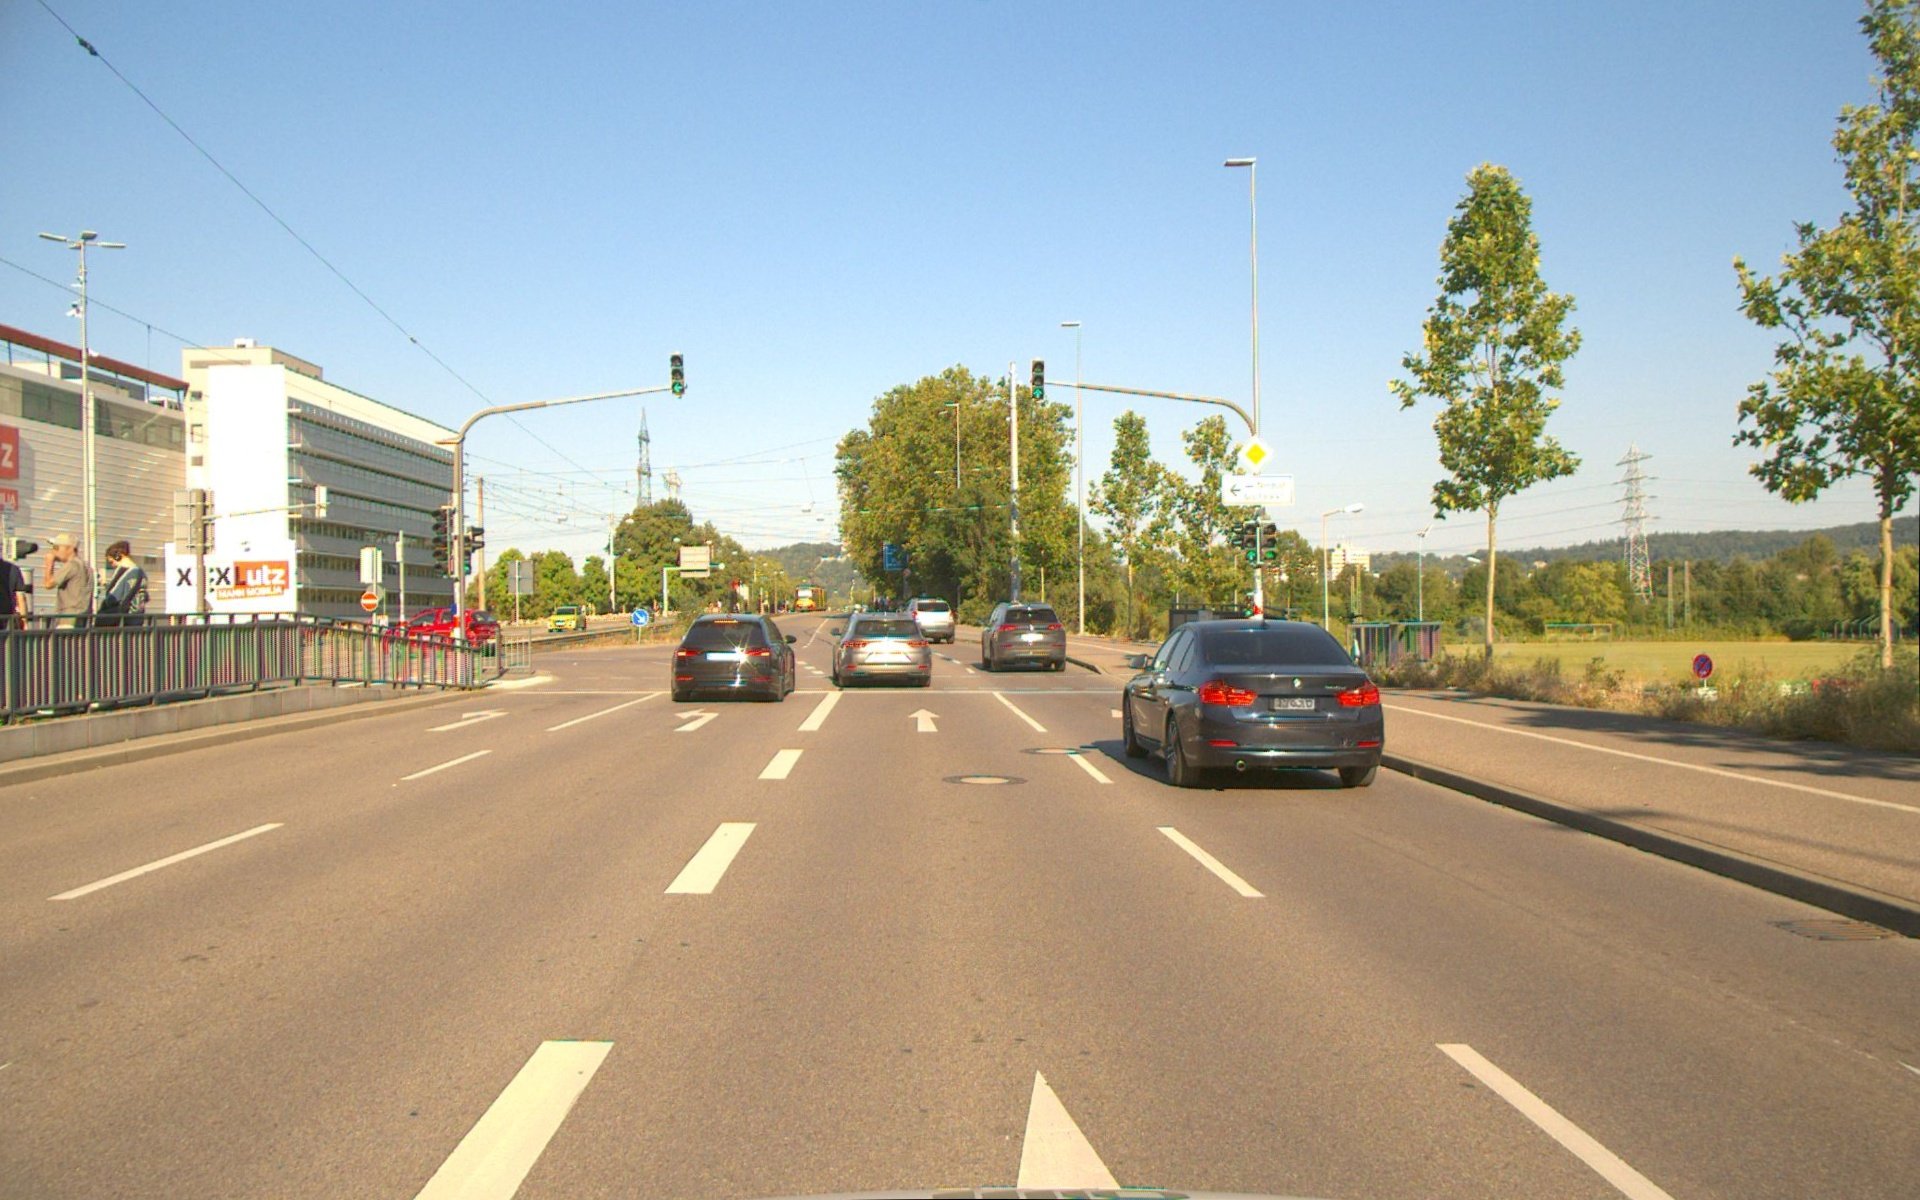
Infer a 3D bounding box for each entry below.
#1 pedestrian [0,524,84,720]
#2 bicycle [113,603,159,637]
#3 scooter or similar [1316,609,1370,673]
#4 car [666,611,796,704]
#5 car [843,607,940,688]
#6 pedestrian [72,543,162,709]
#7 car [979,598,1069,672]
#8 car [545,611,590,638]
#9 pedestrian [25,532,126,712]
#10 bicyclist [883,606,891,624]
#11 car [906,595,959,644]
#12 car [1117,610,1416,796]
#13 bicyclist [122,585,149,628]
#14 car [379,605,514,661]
[{"bbox_3d":[-8.800,0.205,15.618,0.692,1.806,0.535,1,-1,2],"label":"pedestrian"},{"bbox_3d":[-29.893,0.707,60.026,0.575,1.188,1.992,1,0,3],"label":"bicycle"},{"bbox_3d":[7.758,0.818,33.539,0.515,1.252,1.261,-1,0,-16],"label":"scooter or similar"},{"bbox_3d":[-3.887,0.932,28.630,1.877,1.483,4.088,0,0,-3],"label":"car"},{"bbox_3d":[-1.455,0.913,33.849,1.829,1.493,4.662,1,0,-4],"label":"car"},{"bbox_3d":[-8.794,0.270,17.276,0.523,1.686,0.750,1,-1,0],"label":"pedestrian"},{"bbox_3d":[1.519,0.811,40.756,1.808,1.690,4.437,0,0,-3],"label":"car"},{"bbox_3d":[-23.324,1.457,98.427,1.747,1.473,4.106,-2,0,-2],"label":"car"},{"bbox_3d":[-8.725,0.218,16.336,0.523,1.723,0.760,2,-1,0],"label":"pedestrian"},{"bbox_3d":[-6.279,1.314,143.069,0.672,1.535,0.890,0,0,-3],"label":"bicyclist"},{"bbox_3d":[-1.103,0.739,64.895,1.846,1.827,3.997,1,0,-4],"label":"car"},{"bbox_3d":[2.691,0.846,15.608,1.828,1.493,4.584,0,-1,-2],"label":"car"},{"bbox_3d":[-29.885,0.240,59.965,0.575,1.549,0.751,1,0,3],"label":"bicyclist"},{"bbox_3d":[-15.765,1.010,50.797,3.499,1.485,1.772,-4,-1,17],"label":"car"}]
